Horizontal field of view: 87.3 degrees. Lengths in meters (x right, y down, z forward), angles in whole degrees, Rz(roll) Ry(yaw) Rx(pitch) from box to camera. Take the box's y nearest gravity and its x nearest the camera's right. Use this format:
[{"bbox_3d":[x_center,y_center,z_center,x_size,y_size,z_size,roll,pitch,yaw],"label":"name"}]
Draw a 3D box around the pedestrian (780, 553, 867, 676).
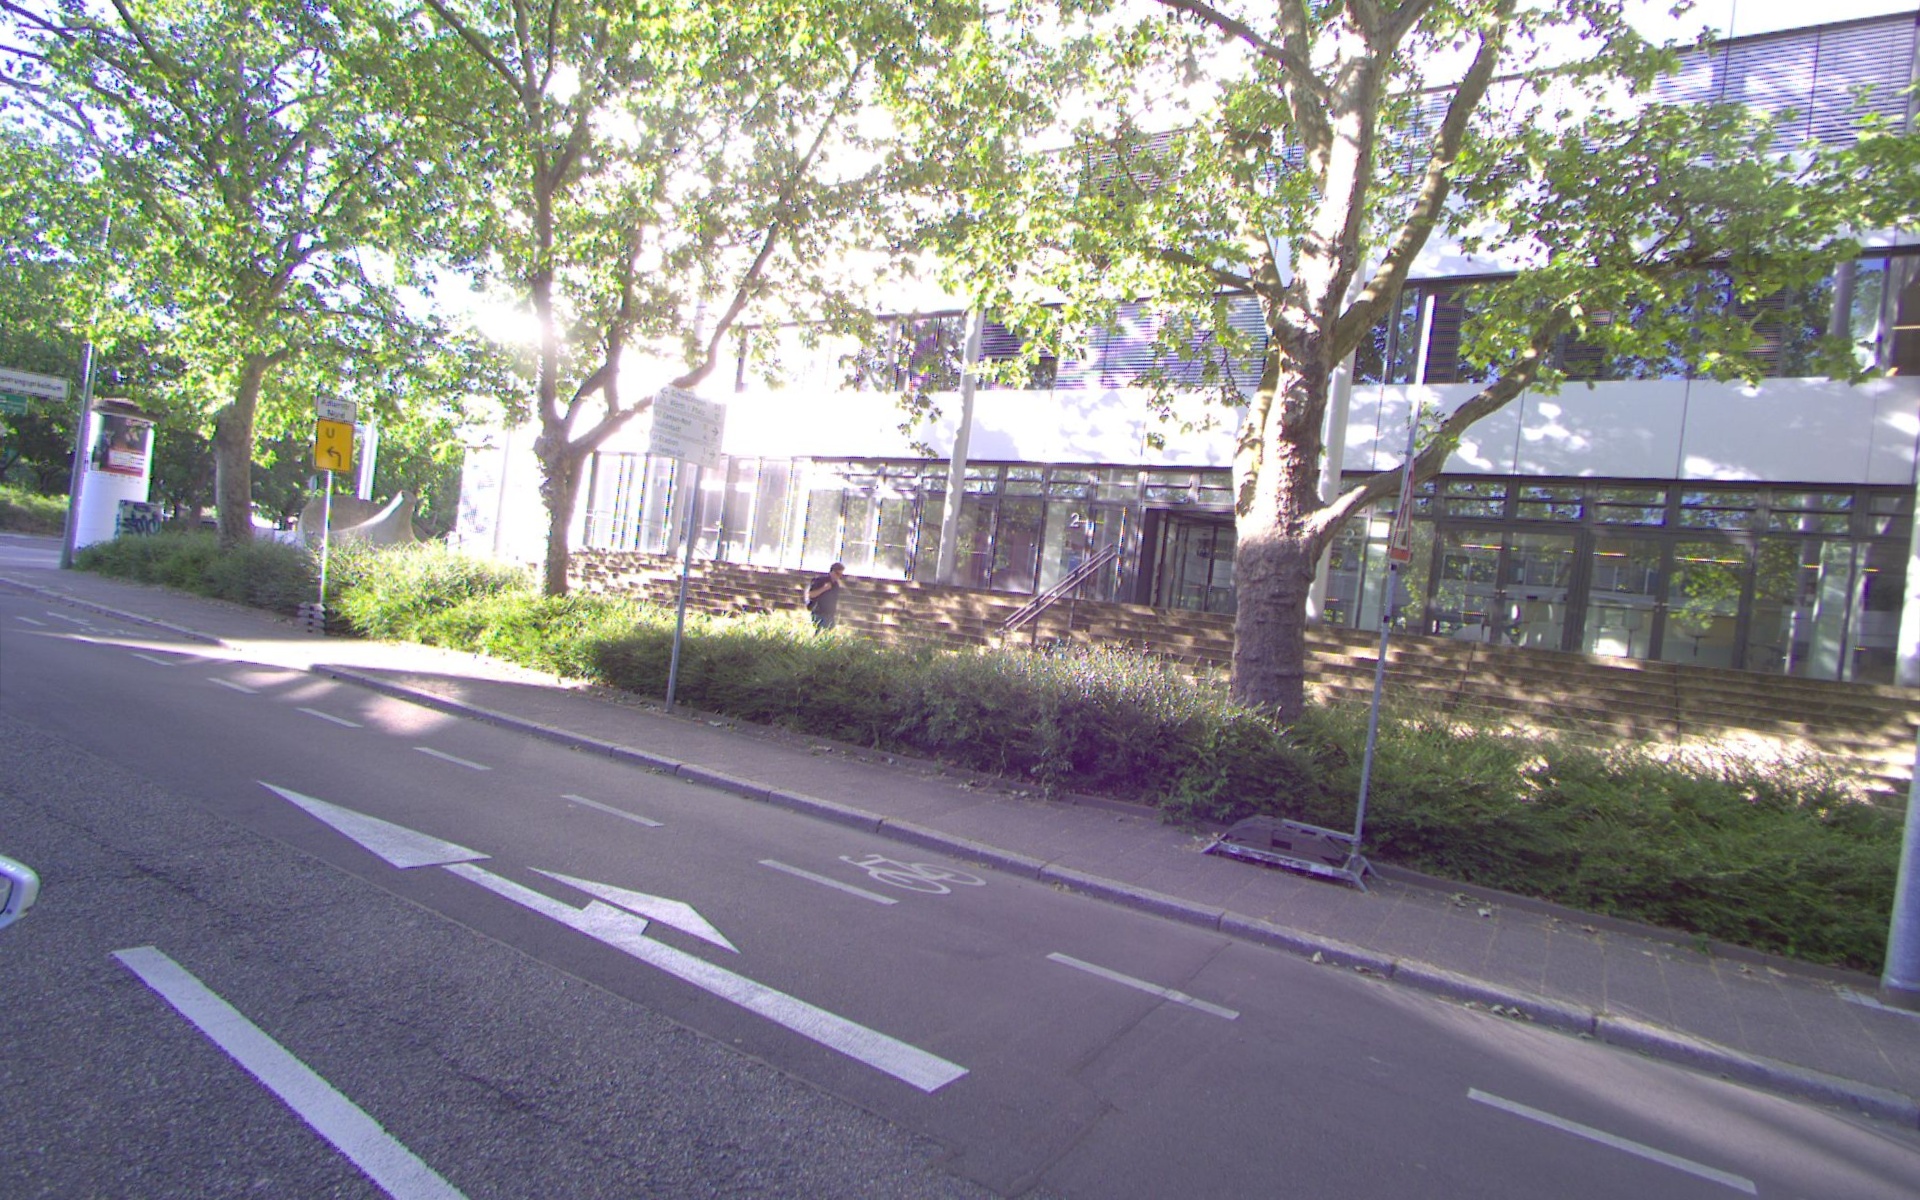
[{"bbox_3d":[-2.144,0.244,15.858,0.848,1.802,0.785,7,0,30],"label":"pedestrian"}]
